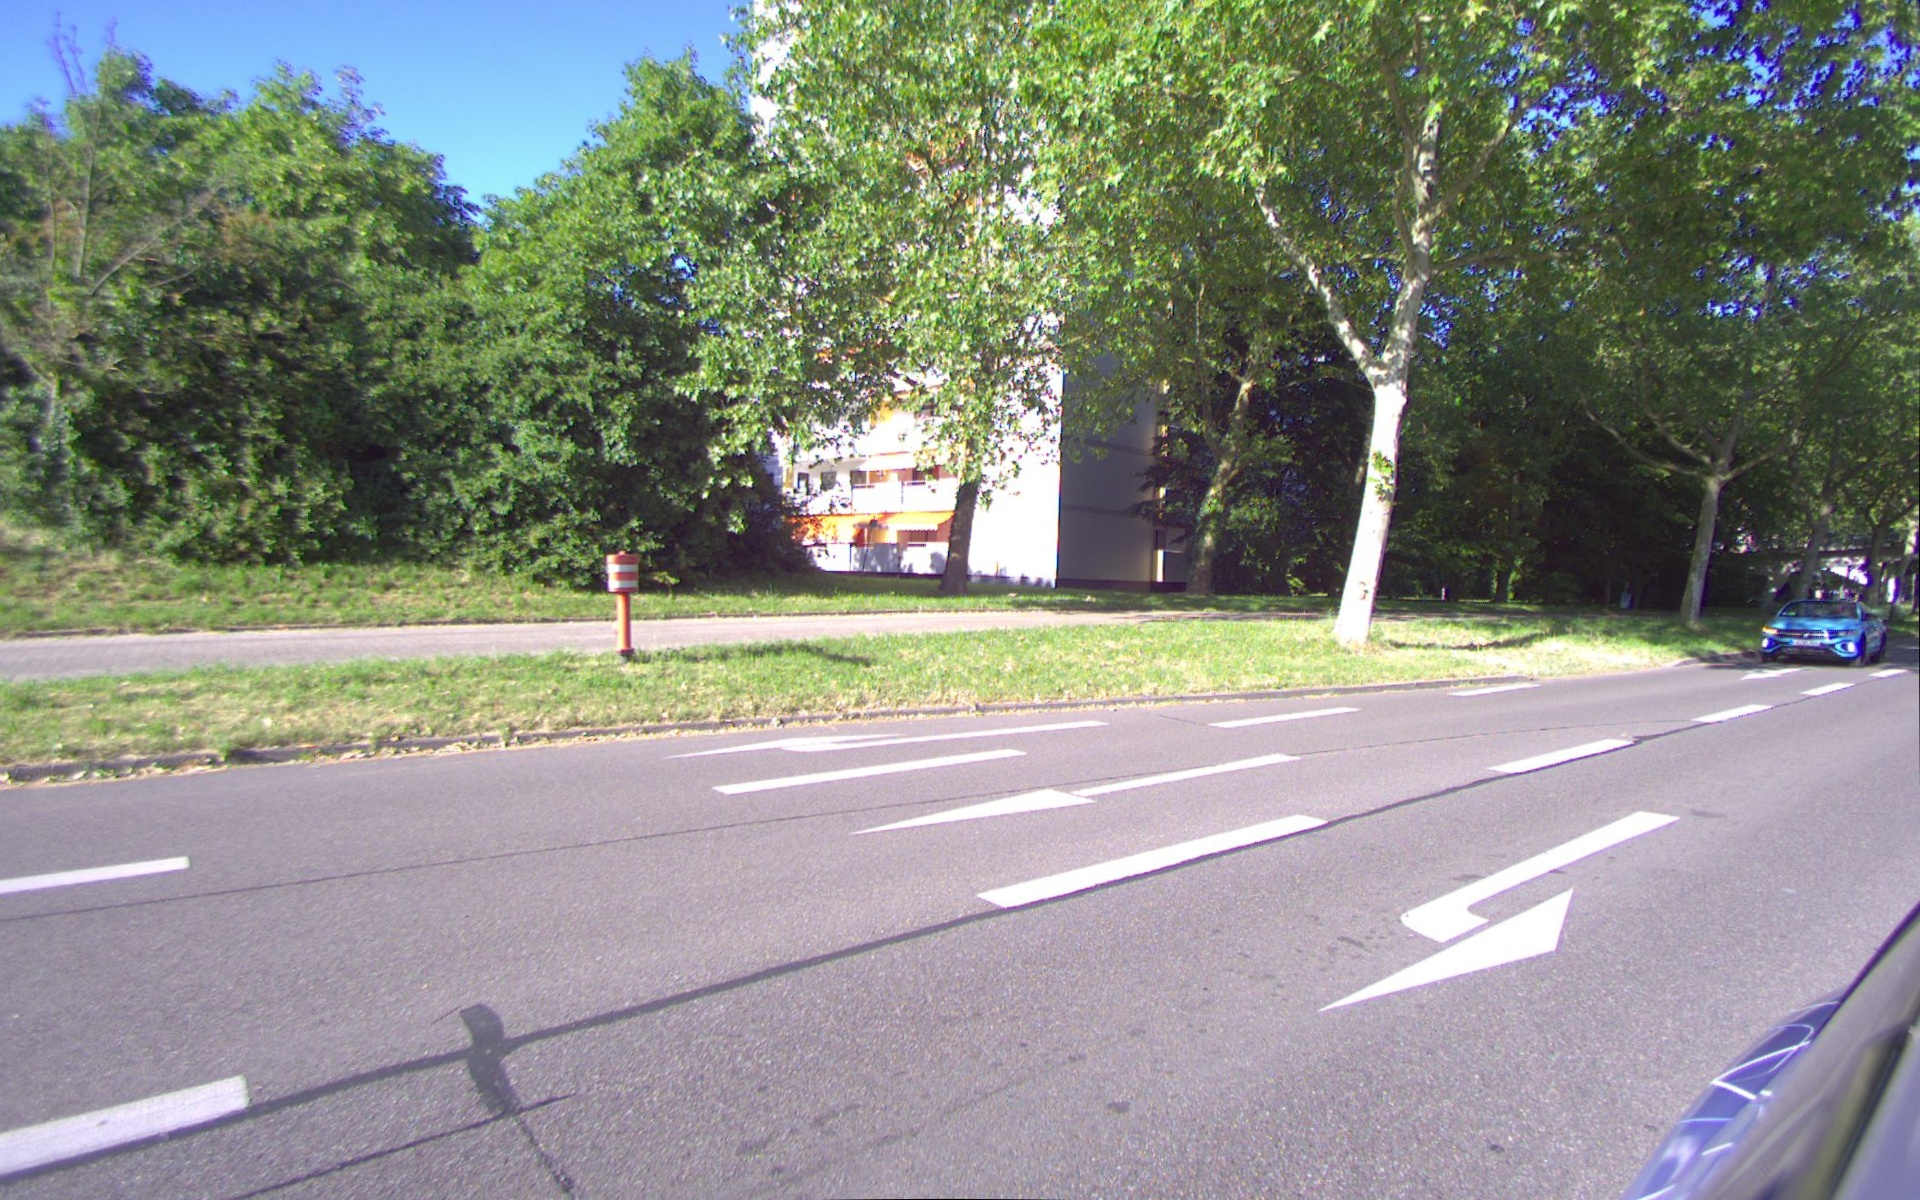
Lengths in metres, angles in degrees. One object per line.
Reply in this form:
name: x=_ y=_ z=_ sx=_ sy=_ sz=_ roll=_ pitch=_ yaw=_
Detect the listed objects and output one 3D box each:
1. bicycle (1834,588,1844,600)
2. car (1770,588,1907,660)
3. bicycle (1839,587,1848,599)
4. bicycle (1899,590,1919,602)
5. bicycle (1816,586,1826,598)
bicycle: x=91.985 y=-0.644 z=105.948 sx=1.775 sy=1.269 sz=0.576 roll=0 pitch=1 yaw=-42
car: x=20.342 y=0.513 z=23.384 sx=4.027 sy=1.502 sz=1.779 roll=1 pitch=0 yaw=-40
bicycle: x=95.446 y=-0.805 z=109.329 sx=1.775 sy=1.269 sz=0.576 roll=0 pitch=1 yaw=-42
bicycle: x=96.989 y=-0.425 z=102.929 sx=2.064 sy=1.172 sz=0.554 roll=4 pitch=3 yaw=40
bicycle: x=92.904 y=-0.892 z=109.156 sx=1.775 sy=1.269 sz=0.576 roll=0 pitch=1 yaw=-42
